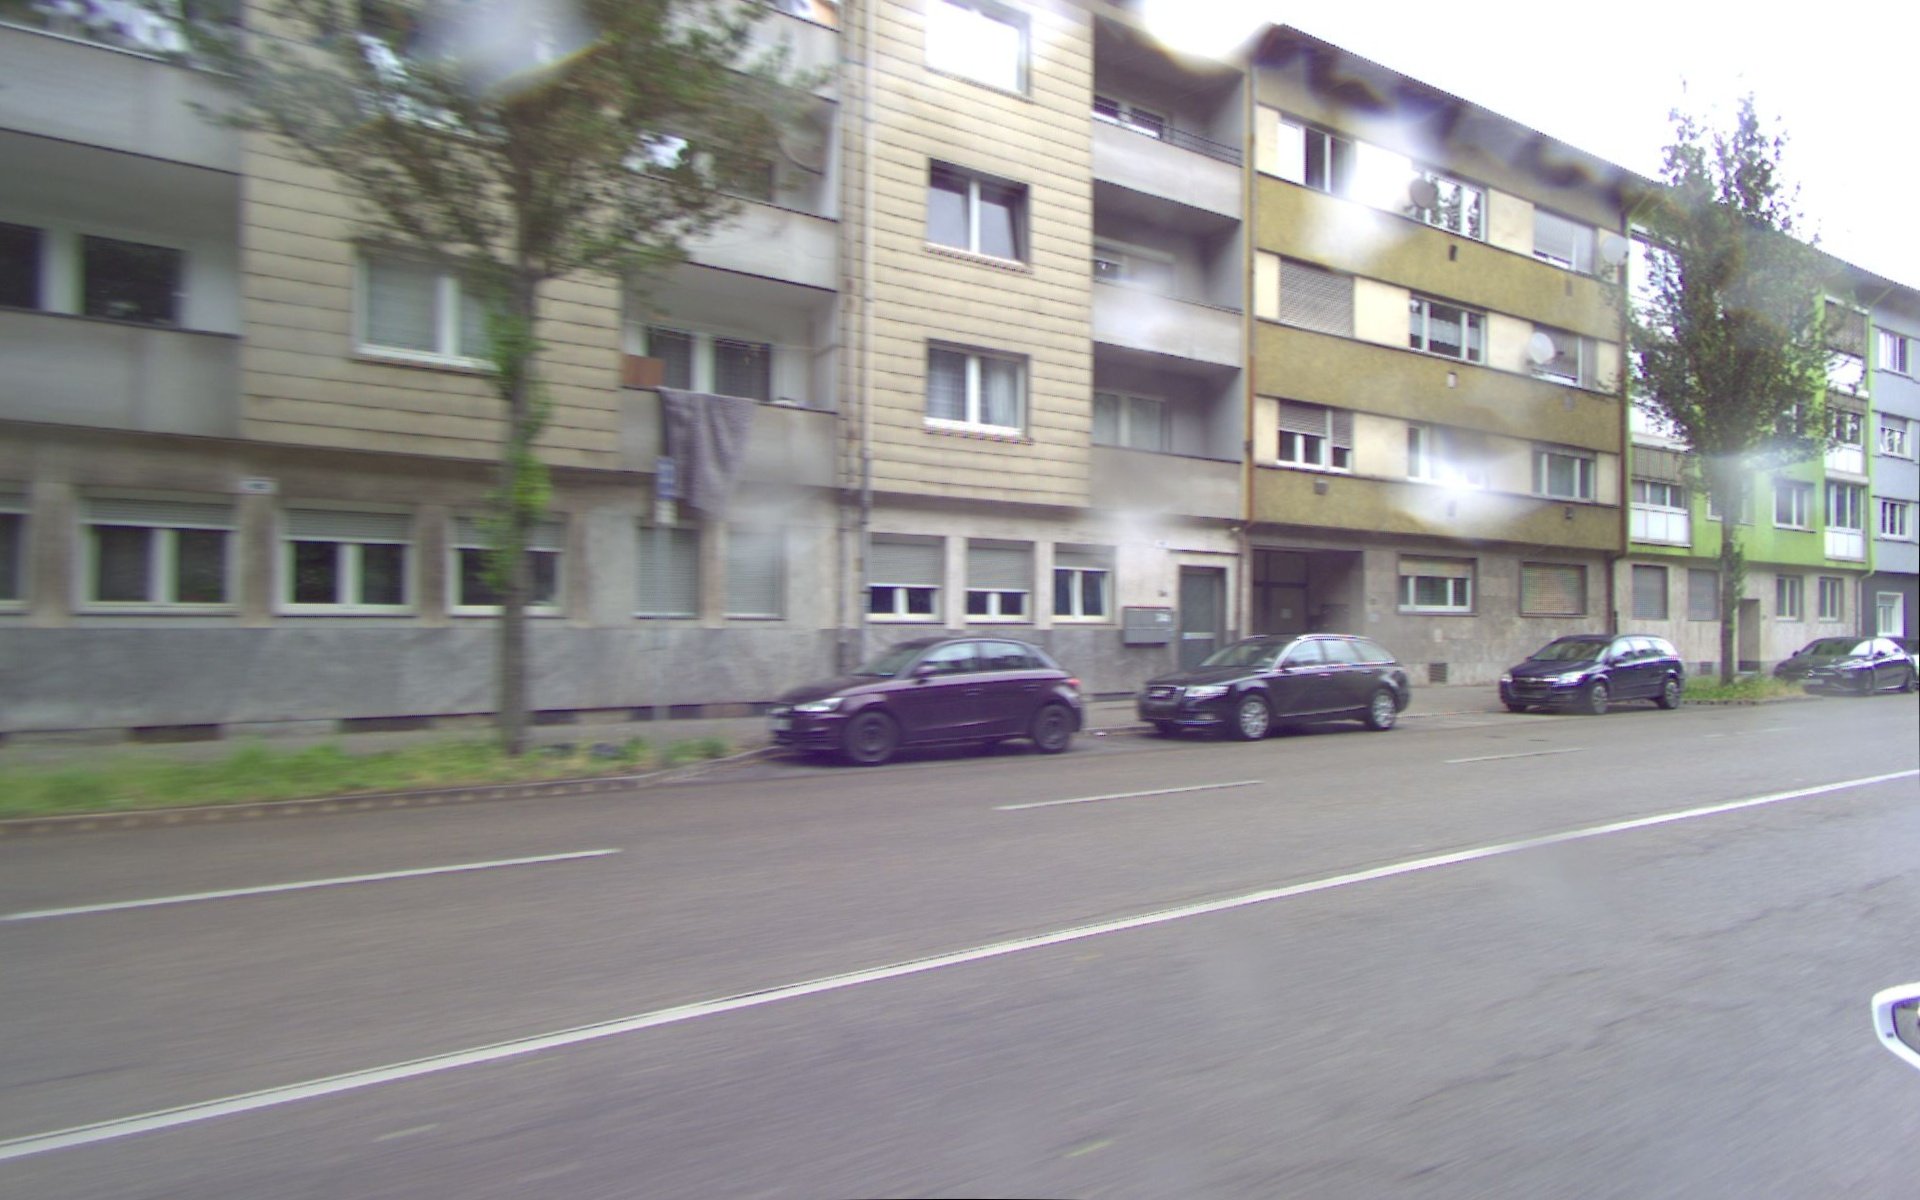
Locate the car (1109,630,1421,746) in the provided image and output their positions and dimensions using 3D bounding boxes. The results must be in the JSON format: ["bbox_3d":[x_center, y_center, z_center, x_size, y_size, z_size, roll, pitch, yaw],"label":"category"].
[{"bbox_3d":[4.647,1.227,15.072,4.736,1.508,1.808,1,-3,-32],"label":"car"}]

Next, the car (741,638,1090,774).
[{"bbox_3d":[-0.485,1.164,12.148,3.942,1.405,1.618,1,-2,-30],"label":"car"}]

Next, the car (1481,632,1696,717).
[{"bbox_3d":[12.432,1.412,19.802,4.461,1.508,1.710,1,-3,-30],"label":"car"}]

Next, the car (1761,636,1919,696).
[{"bbox_3d":[22.362,1.630,25.393,4.627,1.390,1.808,1,-3,-31],"label":"car"}]

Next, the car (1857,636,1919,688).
[{"bbox_3d":[27.173,1.719,28.259,3.952,1.394,1.673,1,-3,-29],"label":"car"}]
